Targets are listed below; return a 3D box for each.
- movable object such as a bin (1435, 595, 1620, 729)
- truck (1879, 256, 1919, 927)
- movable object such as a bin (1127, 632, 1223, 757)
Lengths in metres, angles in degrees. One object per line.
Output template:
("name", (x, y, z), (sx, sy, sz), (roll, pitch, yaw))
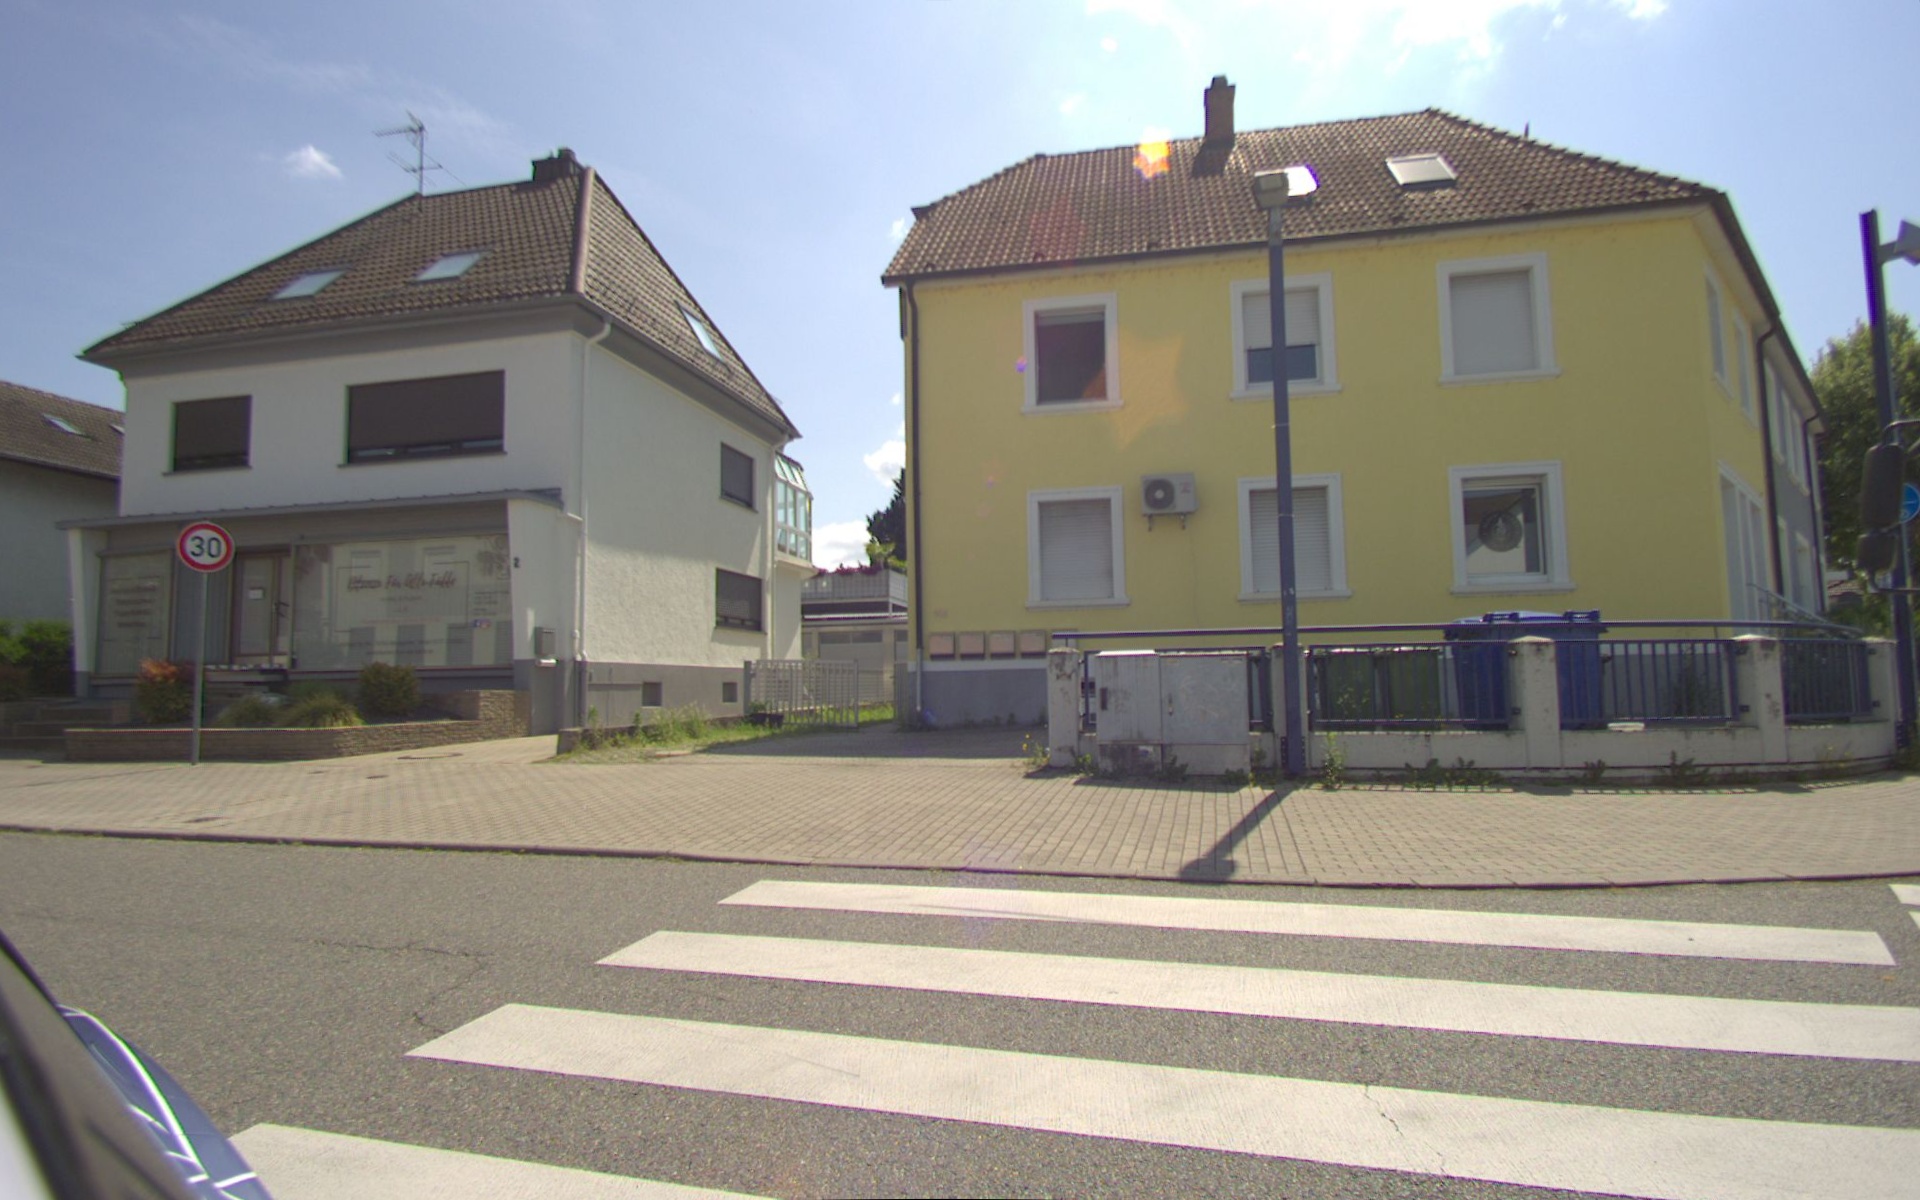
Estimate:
("movable object such as a bin", (5.509, 0.608, 9.900), (1.259, 1.223, 0.842), (-1, -4, 1))
("truck", (8.273, -0.112, 4.858), (7.932, 2.899, 2.627), (-1, -2, -24))
("movable object such as a bin", (2.256, 0.982, 10.574), (0.894, 1.235, 0.883), (-2, -4, 15))
